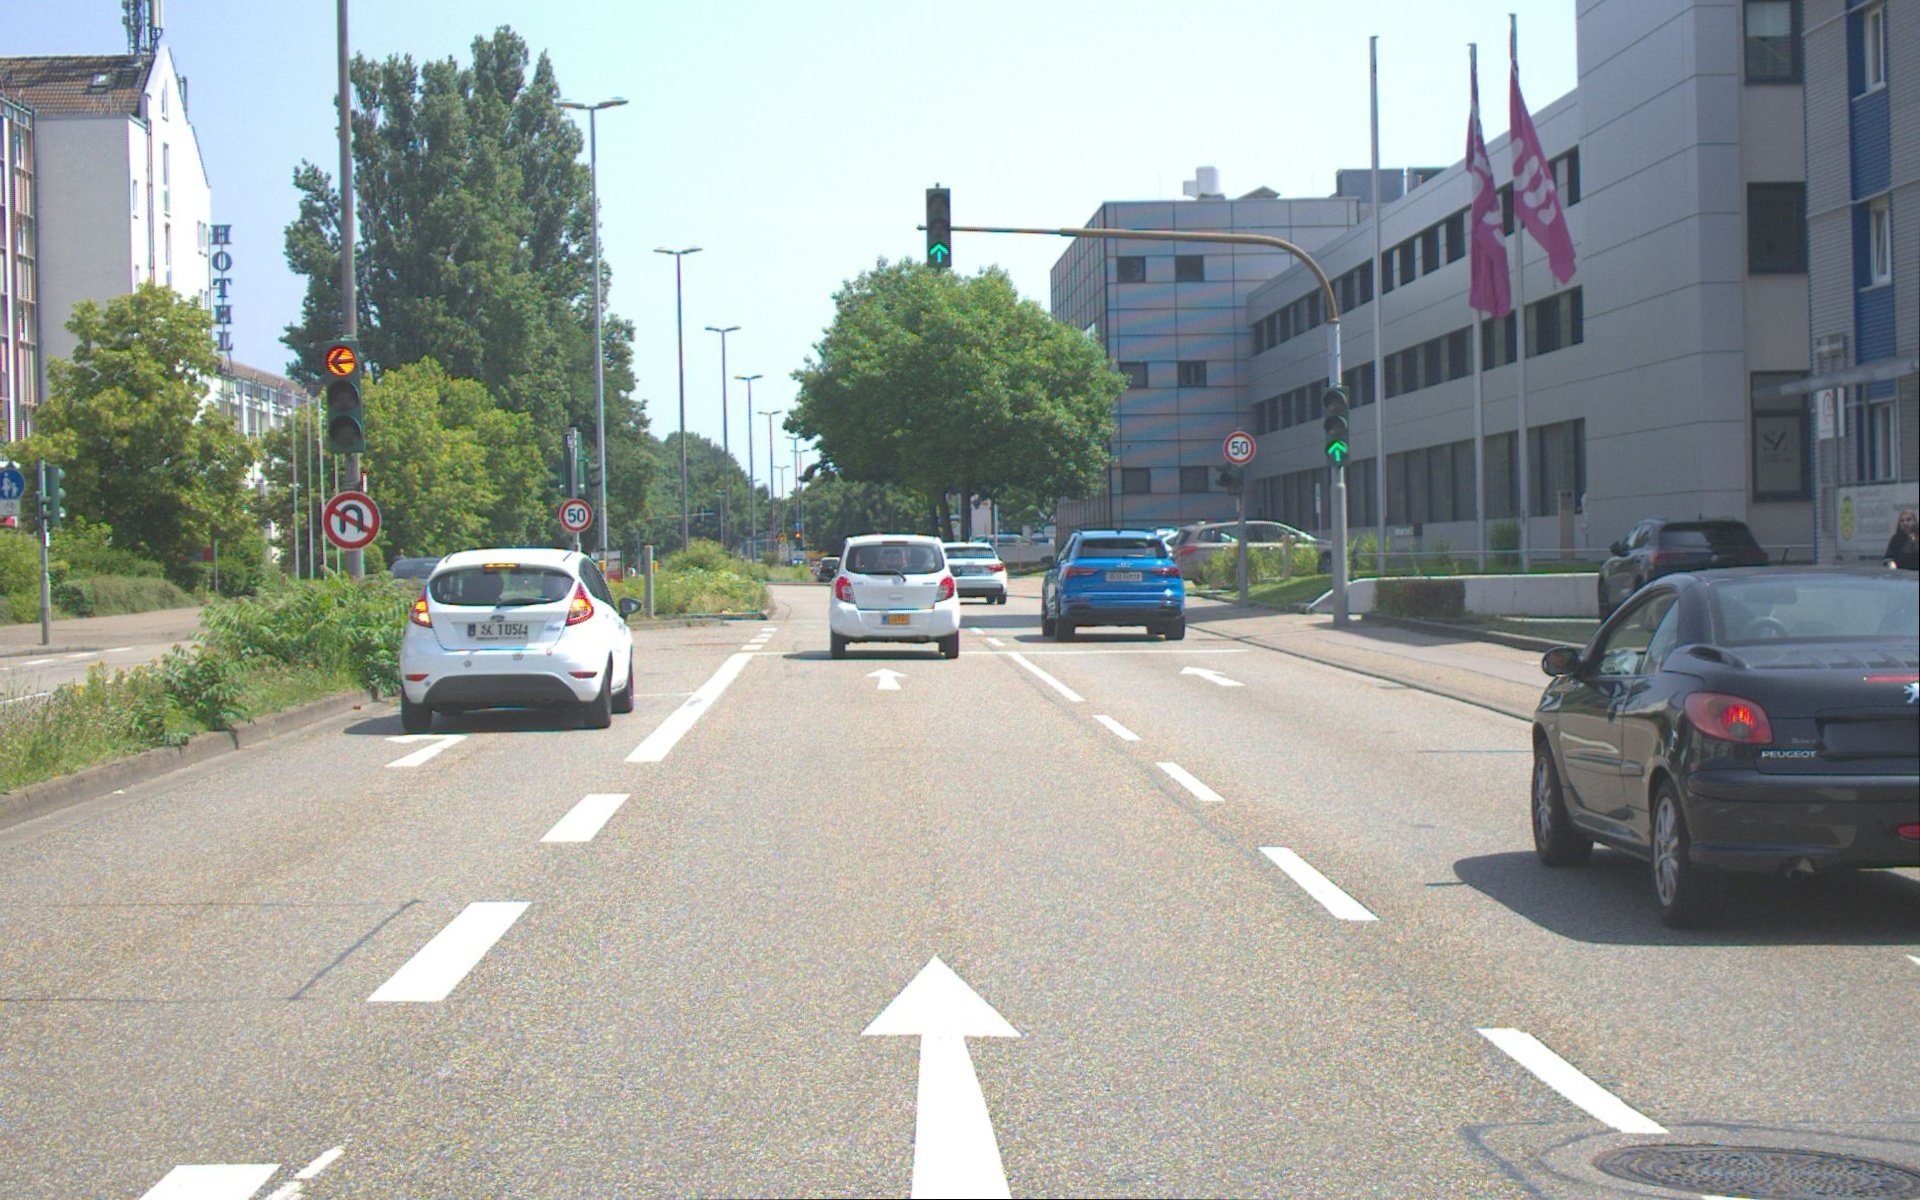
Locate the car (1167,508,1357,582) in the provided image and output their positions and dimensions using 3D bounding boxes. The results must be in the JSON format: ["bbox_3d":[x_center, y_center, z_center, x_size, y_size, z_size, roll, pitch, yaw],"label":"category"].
[{"bbox_3d":[7.328,-1.337,83.705,4.258,1.683,2.000,-1,1,-6],"label":"car"}]

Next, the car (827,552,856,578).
[{"bbox_3d":[-7.757,-2.286,224.844,1.819,1.656,4.001,-1,1,-3],"label":"car"}]

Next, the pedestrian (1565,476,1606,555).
[{"bbox_3d":[13.414,-1.807,73.706,0.521,1.657,0.757,-2,1,-19],"label":"pedestrian"}]

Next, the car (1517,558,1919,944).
[{"bbox_3d":[3.446,0.522,14.229,1.627,1.359,3.606,0,1,-1],"label":"car"}]

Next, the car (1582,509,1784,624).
[{"bbox_3d":[10.150,-0.491,48.547,1.844,1.526,4.197,1,1,-1],"label":"car"}]

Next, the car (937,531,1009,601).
[{"bbox_3d":[0.308,-0.795,78.539,1.559,1.515,3.605,-1,1,1],"label":"car"}]

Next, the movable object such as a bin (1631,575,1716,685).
[{"bbox_3d":[6.275,0.260,30.259,0.551,0.916,0.653,-4,1,-1],"label":"movable object such as a bin"}]

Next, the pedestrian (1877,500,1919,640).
[{"bbox_3d":[11.229,-0.361,40.120,0.810,1.621,0.853,-1,1,2],"label":"pedestrian"}]

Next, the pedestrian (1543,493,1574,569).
[{"bbox_3d":[13.126,-1.515,75.426,0.593,1.629,0.523,-2,1,7],"label":"pedestrian"}]

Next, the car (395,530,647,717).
[{"bbox_3d":[-3.612,0.148,28.817,1.688,1.429,3.711,-1,1,-1],"label":"car"}]

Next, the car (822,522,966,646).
[{"bbox_3d":[-0.811,-0.235,43.747,1.748,1.515,3.746,0,1,0],"label":"car"}]

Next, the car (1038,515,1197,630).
[{"bbox_3d":[2.261,-0.422,50.128,1.827,1.575,3.606,-1,1,-5],"label":"car"}]
